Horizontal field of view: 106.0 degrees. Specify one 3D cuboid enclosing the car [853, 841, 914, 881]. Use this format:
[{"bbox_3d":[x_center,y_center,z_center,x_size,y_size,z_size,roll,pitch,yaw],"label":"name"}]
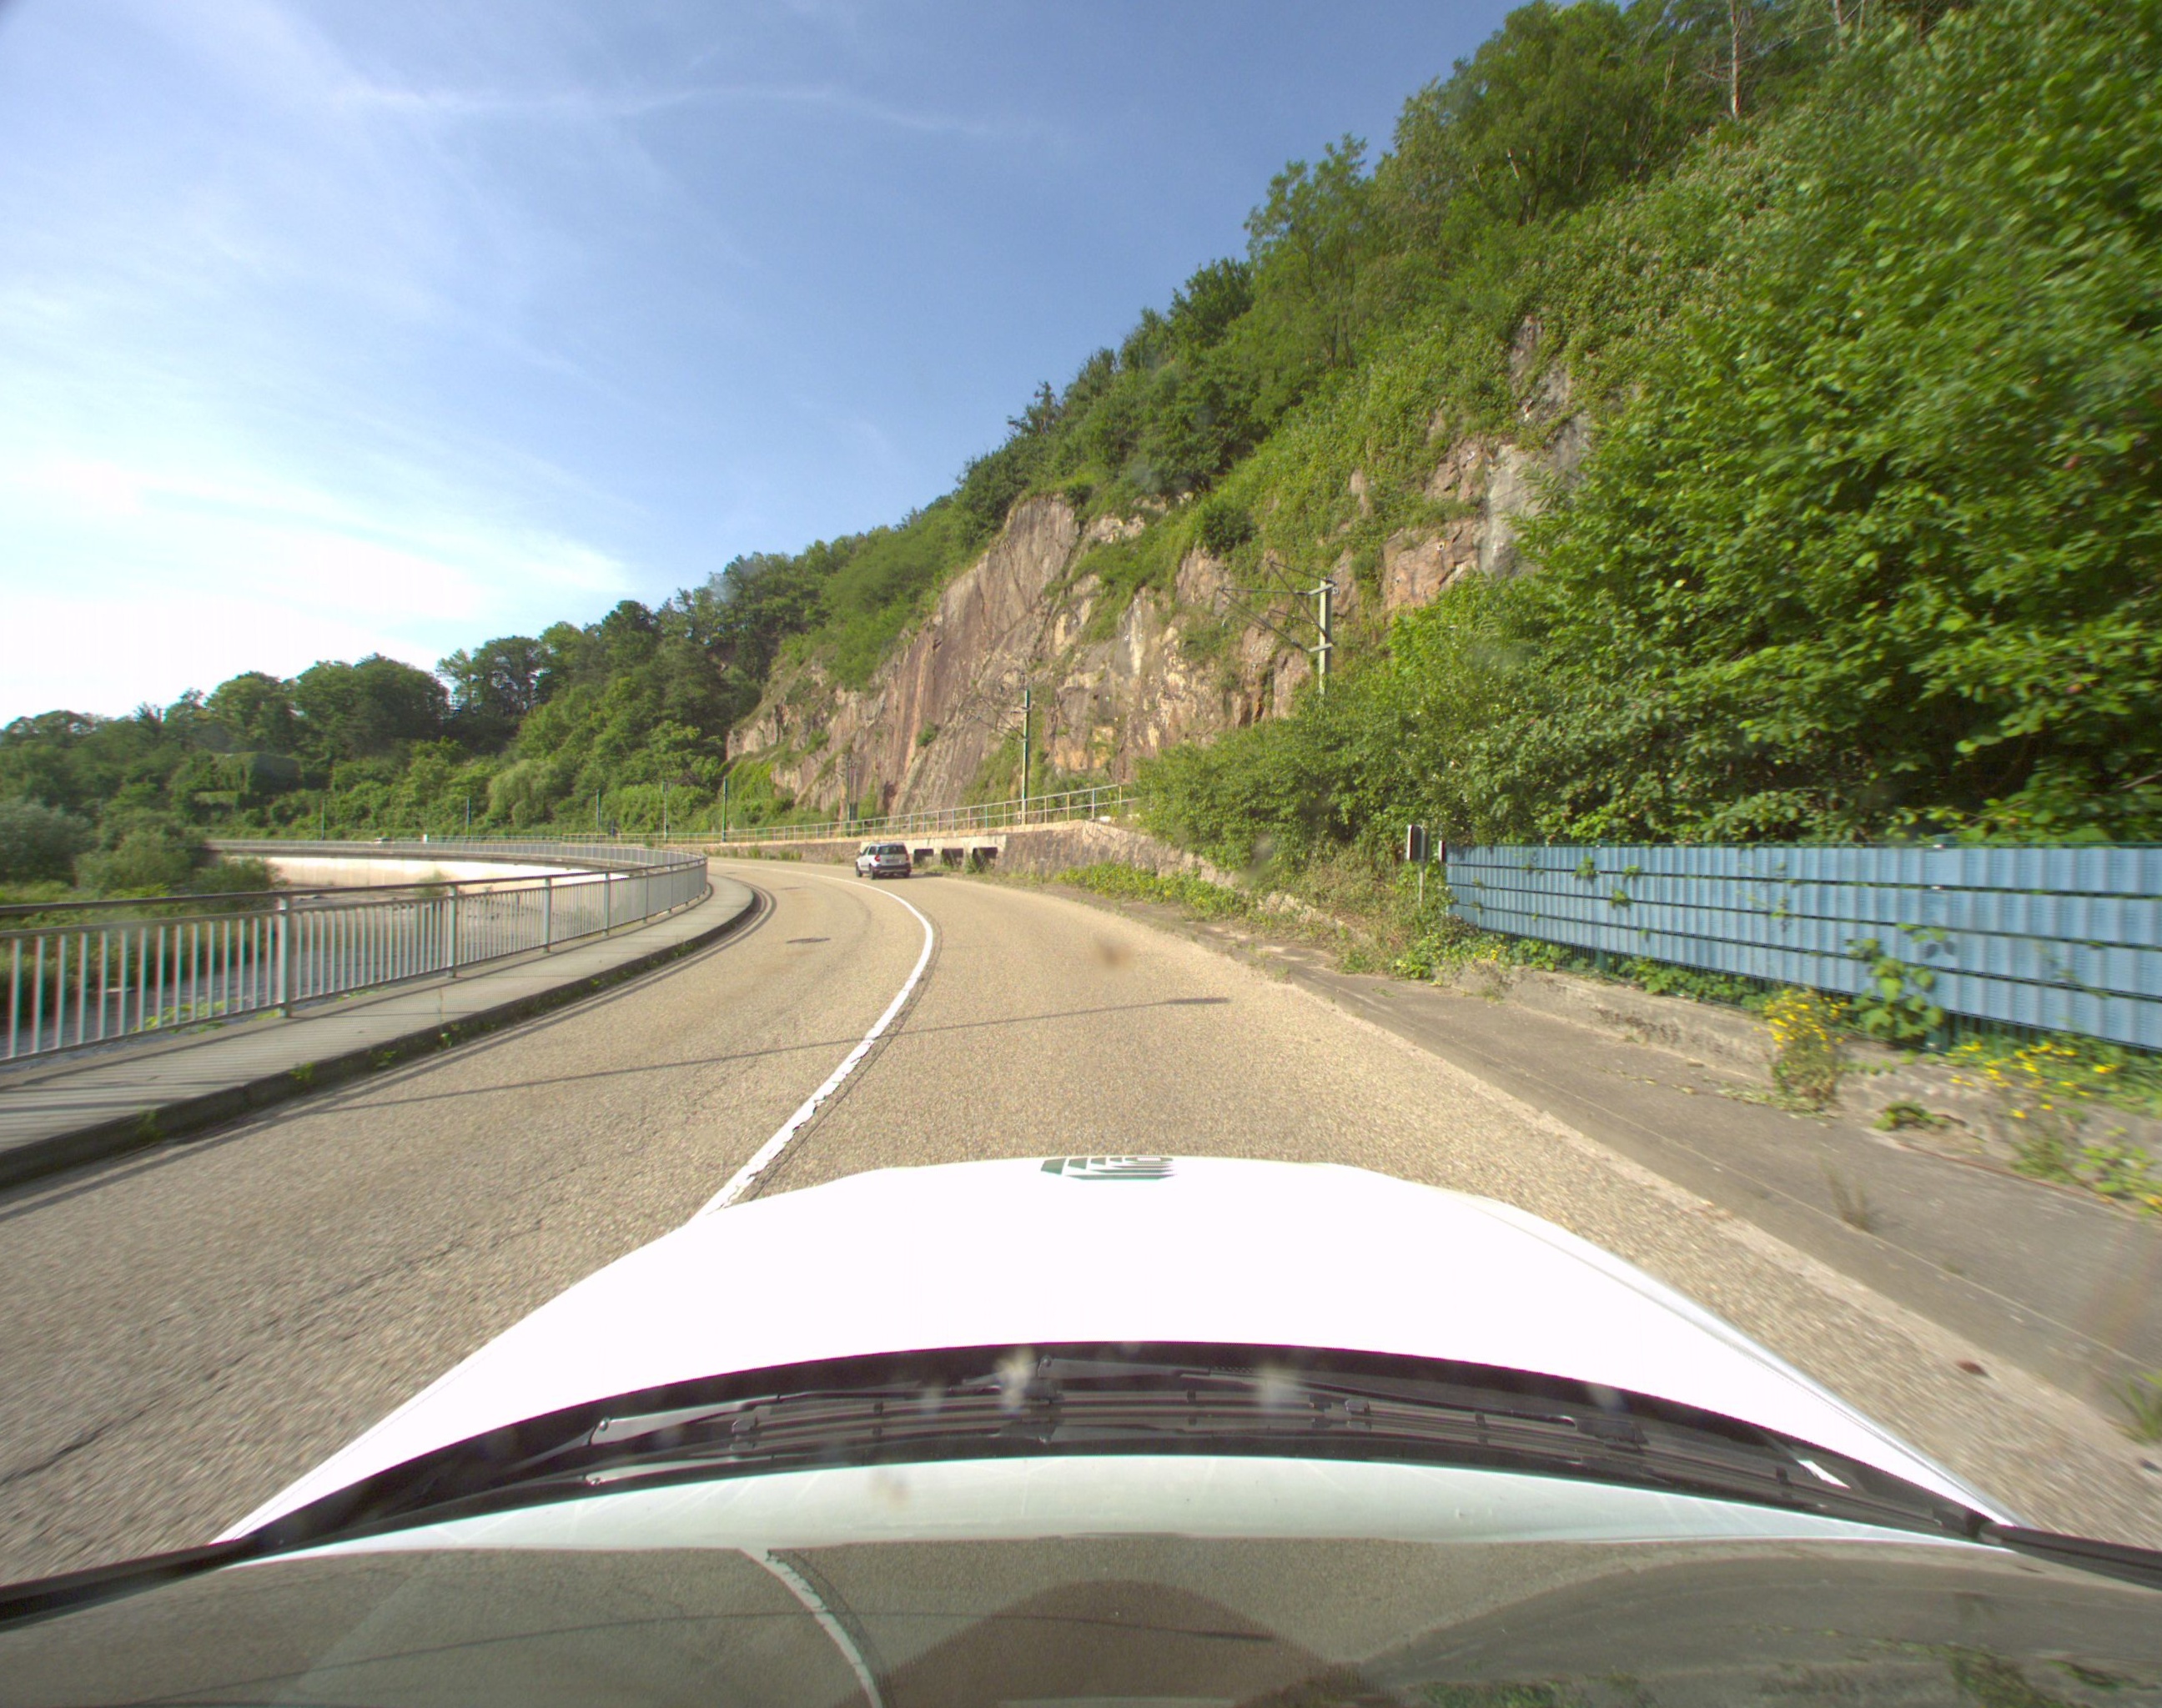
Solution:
[{"bbox_3d":[-9.263,0.277,37.922,1.883,1.655,3.966,-2,2,-27],"label":"car"}]
